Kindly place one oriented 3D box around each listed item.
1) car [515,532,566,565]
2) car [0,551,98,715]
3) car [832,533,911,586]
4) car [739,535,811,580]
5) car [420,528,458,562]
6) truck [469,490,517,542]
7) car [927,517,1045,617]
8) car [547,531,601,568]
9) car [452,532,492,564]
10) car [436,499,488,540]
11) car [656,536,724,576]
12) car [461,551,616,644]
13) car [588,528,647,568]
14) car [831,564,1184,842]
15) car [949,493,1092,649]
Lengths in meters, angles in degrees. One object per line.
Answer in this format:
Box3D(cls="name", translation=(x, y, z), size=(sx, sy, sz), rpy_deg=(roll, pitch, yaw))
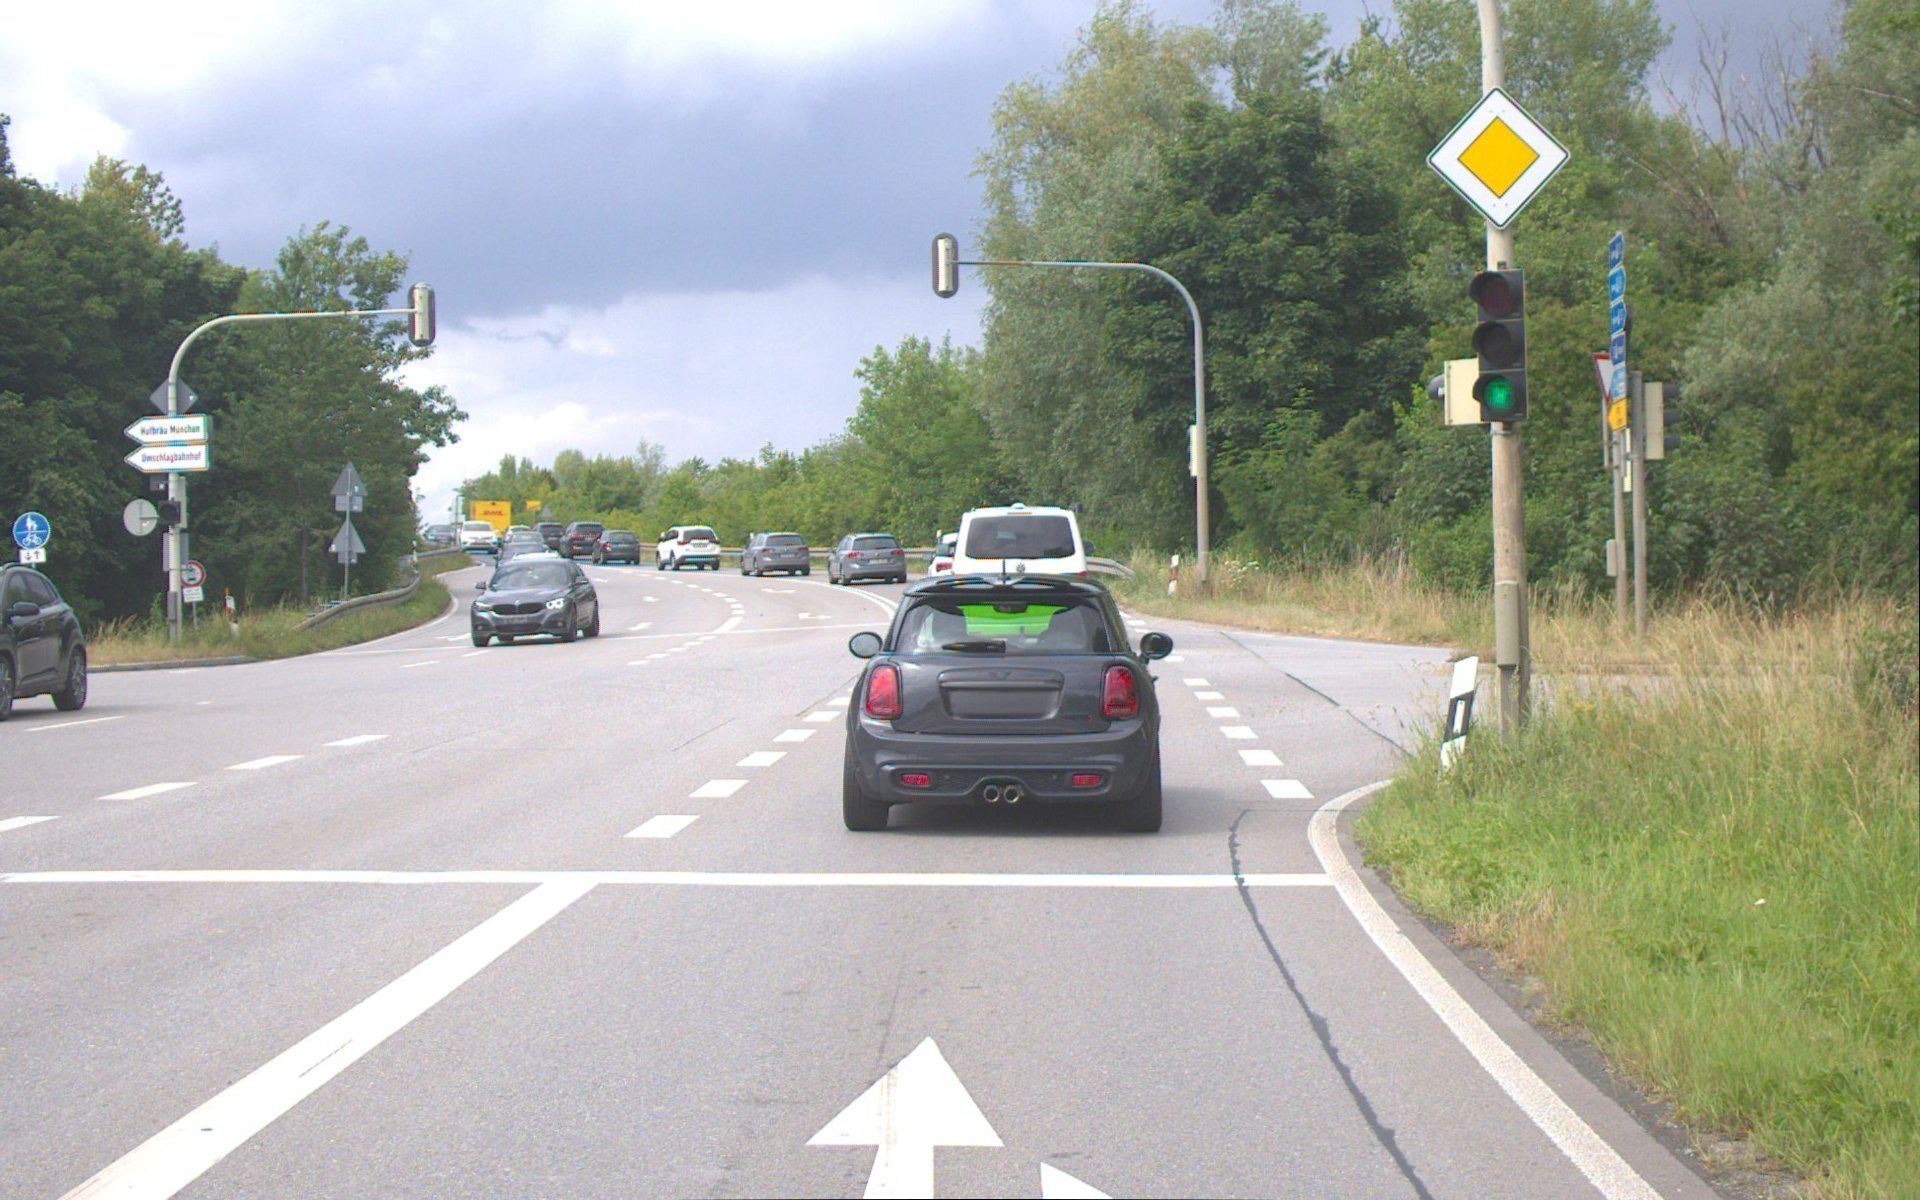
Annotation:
Box3D(cls="car", translation=(-22.013, -2.706, 180.314), size=(1.993, 1.690, 4.487), rpy_deg=(0, 0, -15))
Box3D(cls="car", translation=(-10.057, 0.306, 34.313), size=(1.791, 1.568, 4.000), rpy_deg=(-1, 1, 2))
Box3D(cls="car", translation=(-2.523, -1.133, 97.272), size=(1.993, 1.471, 4.486), rpy_deg=(0, 0, -5))
Box3D(cls="car", translation=(-6.191, -1.422, 114.878), size=(1.993, 1.471, 4.487), rpy_deg=(0, 0, -8))
Box3D(cls="car", translation=(-31.154, -3.285, 205.657), size=(1.993, 2.007, 4.001), rpy_deg=(0, 1, -12))
Box3D(cls="truck", translation=(-29.546, -5.273, 217.288), size=(2.716, 2.888, 8.772), rpy_deg=(0, -1, -9))
Box3D(cls="car", translation=(0.450, -0.581, 60.935), size=(1.993, 1.678, 4.000), rpy_deg=(-1, 0, 0))
Box3D(cls="car", translation=(-18.328, -2.389, 163.090), size=(1.993, 1.690, 4.487), rpy_deg=(0, 0, -13))
Box3D(cls="car", translation=(-25.329, -2.704, 178.428), size=(1.993, 1.607, 4.001), rpy_deg=(-1, 2, -7))
Box3D(cls="car", translation=(-21.202, -3.419, 146.359), size=(1.993, 1.684, 4.001), rpy_deg=(-1, 2, -11))
Box3D(cls="car", translation=(-10.334, -1.668, 131.373), size=(1.993, 1.471, 4.487), rpy_deg=(0, 0, -12))
Box3D(cls="car", translation=(-7.522, -0.075, 61.819), size=(1.788, 1.525, 4.903), rpy_deg=(-3, 1, 4))
Box3D(cls="car", translation=(-14.881, -2.258, 149.164), size=(1.993, 1.690, 4.487), rpy_deg=(0, 0, -13))
Box3D(cls="car", translation=(0.330, 0.520, 19.970), size=(1.845, 1.423, 3.841), rpy_deg=(0, 1, 2))
Box3D(cls="car", translation=(0.872, -0.439, 46.985), size=(1.845, 1.980, 3.841), rpy_deg=(0, 2, 3))
